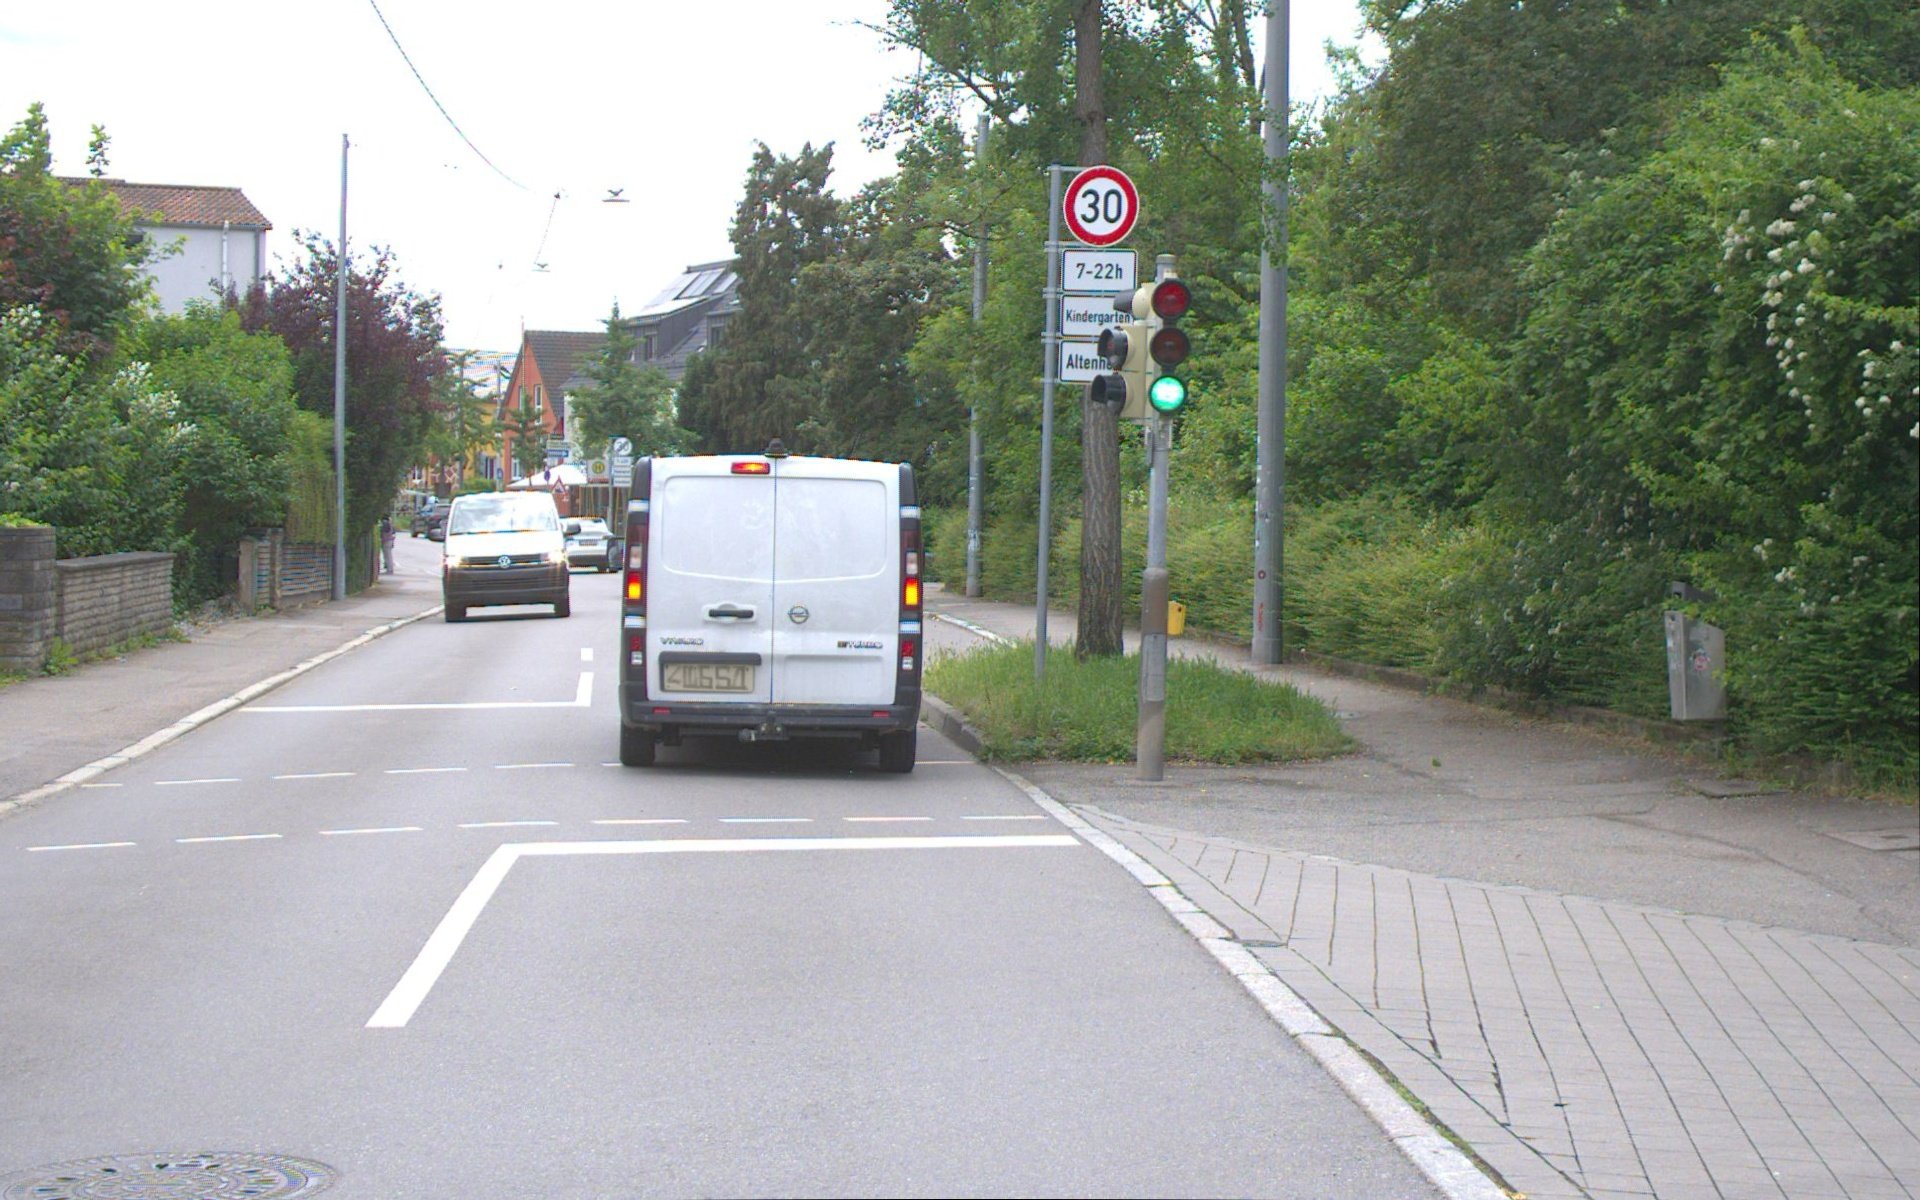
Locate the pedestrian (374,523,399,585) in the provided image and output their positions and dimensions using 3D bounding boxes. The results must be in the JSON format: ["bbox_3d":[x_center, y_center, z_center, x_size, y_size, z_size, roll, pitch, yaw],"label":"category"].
[{"bbox_3d":[-15.932,-1.281,95.525,0.418,1.709,0.453,2,0,38],"label":"pedestrian"}]

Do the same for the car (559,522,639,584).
[{"bbox_3d":[-10.634,-1.395,101.101,1.824,1.722,4.001,2,1,-13],"label":"car"}]

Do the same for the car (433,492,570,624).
[{"bbox_3d":[-7.044,-0.687,53.260,1.867,1.904,5.116,-1,2,-5],"label":"car"}]

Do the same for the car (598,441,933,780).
[{"bbox_3d":[-1.337,0.040,22.645,1.929,1.957,4.402,2,1,-5],"label":"car"}]

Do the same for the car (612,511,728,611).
[{"bbox_3d":[-5.661,-0.761,67.513,1.897,1.853,4.404,2,1,0],"label":"car"}]
